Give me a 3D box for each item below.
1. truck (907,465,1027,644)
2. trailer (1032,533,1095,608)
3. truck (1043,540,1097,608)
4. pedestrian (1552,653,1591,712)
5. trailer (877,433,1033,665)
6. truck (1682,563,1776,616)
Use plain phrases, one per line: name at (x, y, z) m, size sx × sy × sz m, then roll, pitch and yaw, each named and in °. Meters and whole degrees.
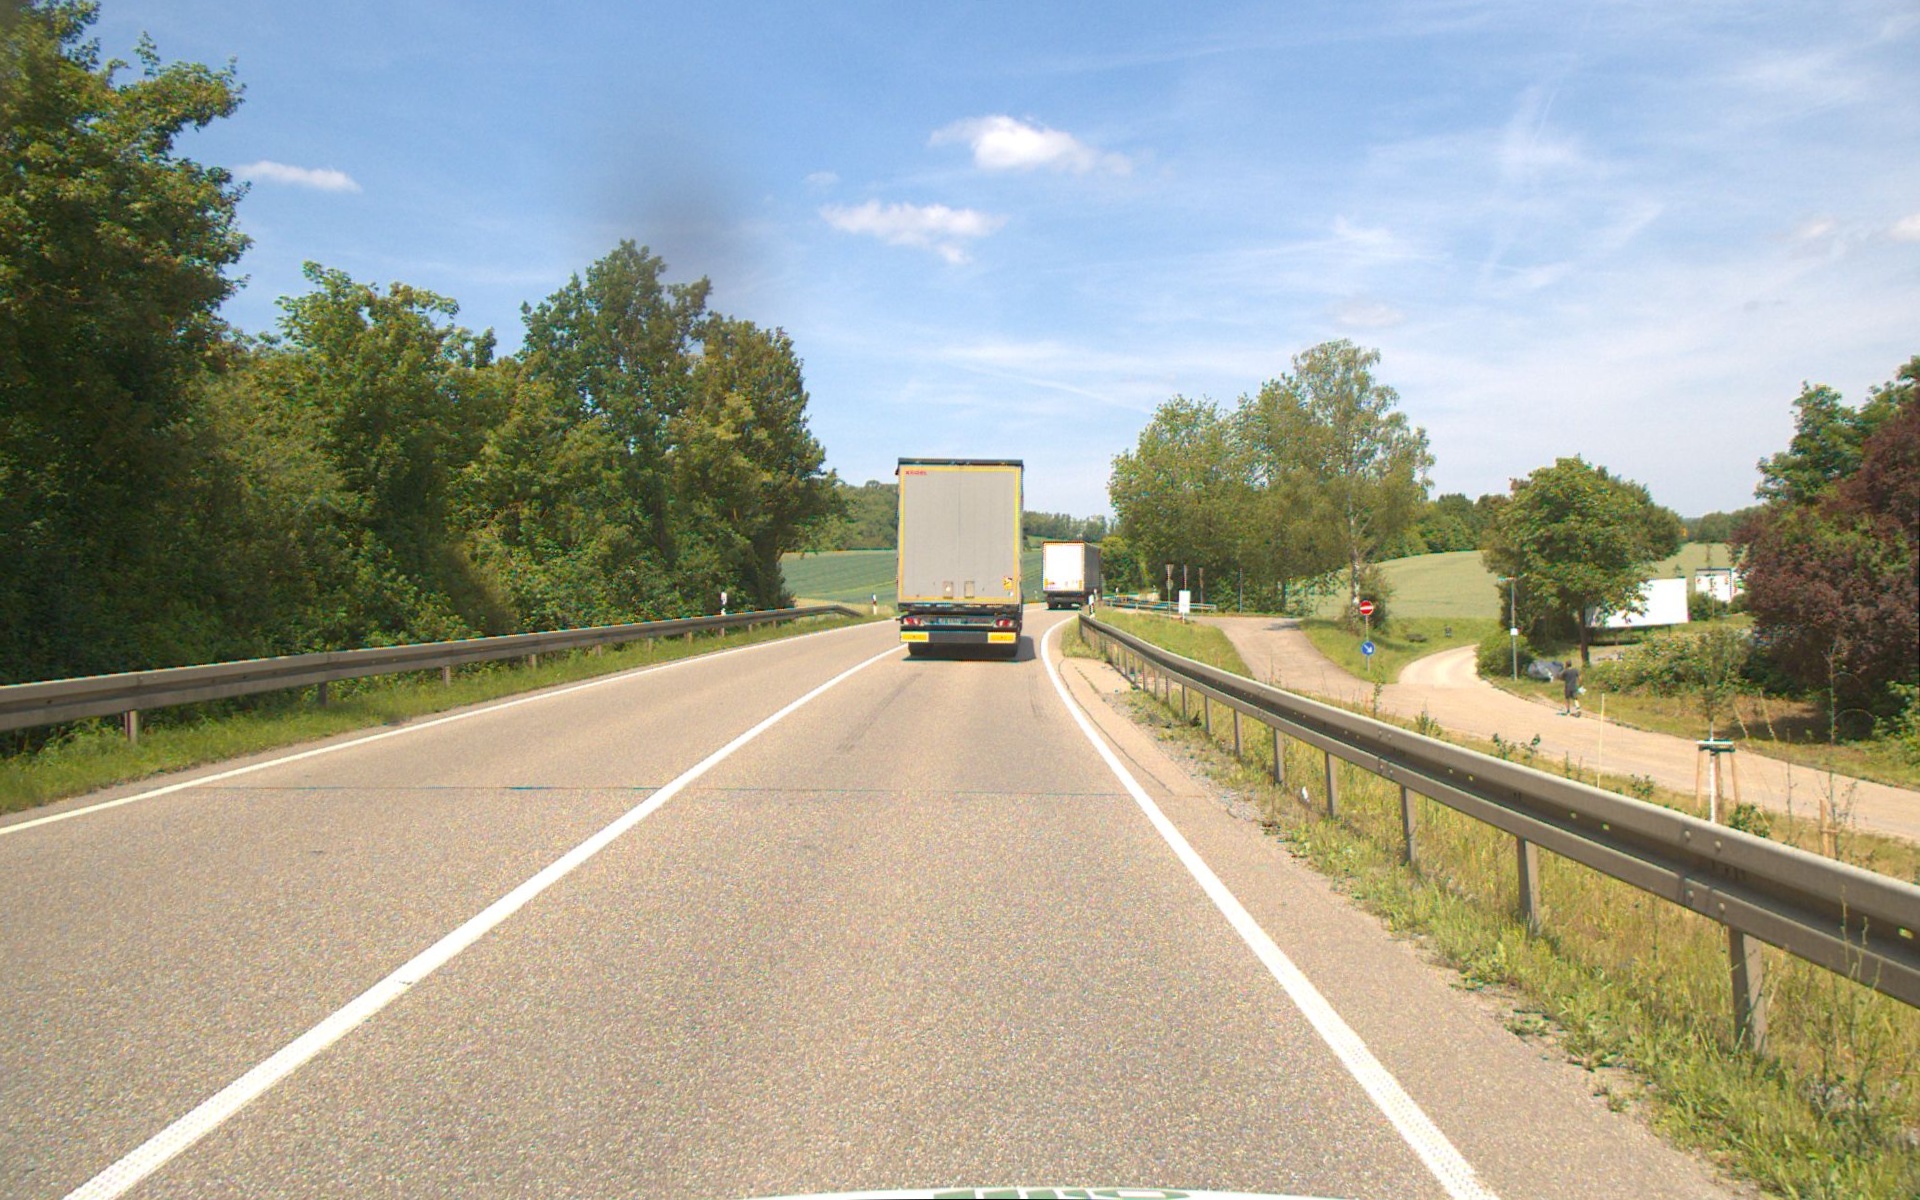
truck at (0.318, -1.205, 45.826) m, size 3.053 × 4.573 × 6.813 m, roll 0°, pitch 1°, yaw 2°
trailer at (6.772, -1.743, 105.690) m, size 3.293 × 4.392 × 13.873 m, roll 0°, pitch -1°, yaw 7°
truck at (7.492, -1.681, 111.788) m, size 3.293 × 4.393 × 6.745 m, roll 0°, pitch -1°, yaw 7°
pedestrian at (20.108, 2.710, 54.407) m, size 0.866 × 1.842 × 0.959 m, roll -3°, pitch 1°, yaw 0°
trailer at (0.093, -1.106, 39.654) m, size 3.053 × 4.578 × 13.890 m, roll 0°, pitch 1°, yaw 2°
truck at (57.006, -0.777, 122.587) m, size 7.056 × 3.597 × 3.114 m, roll -2°, pitch 0°, yaw -35°
